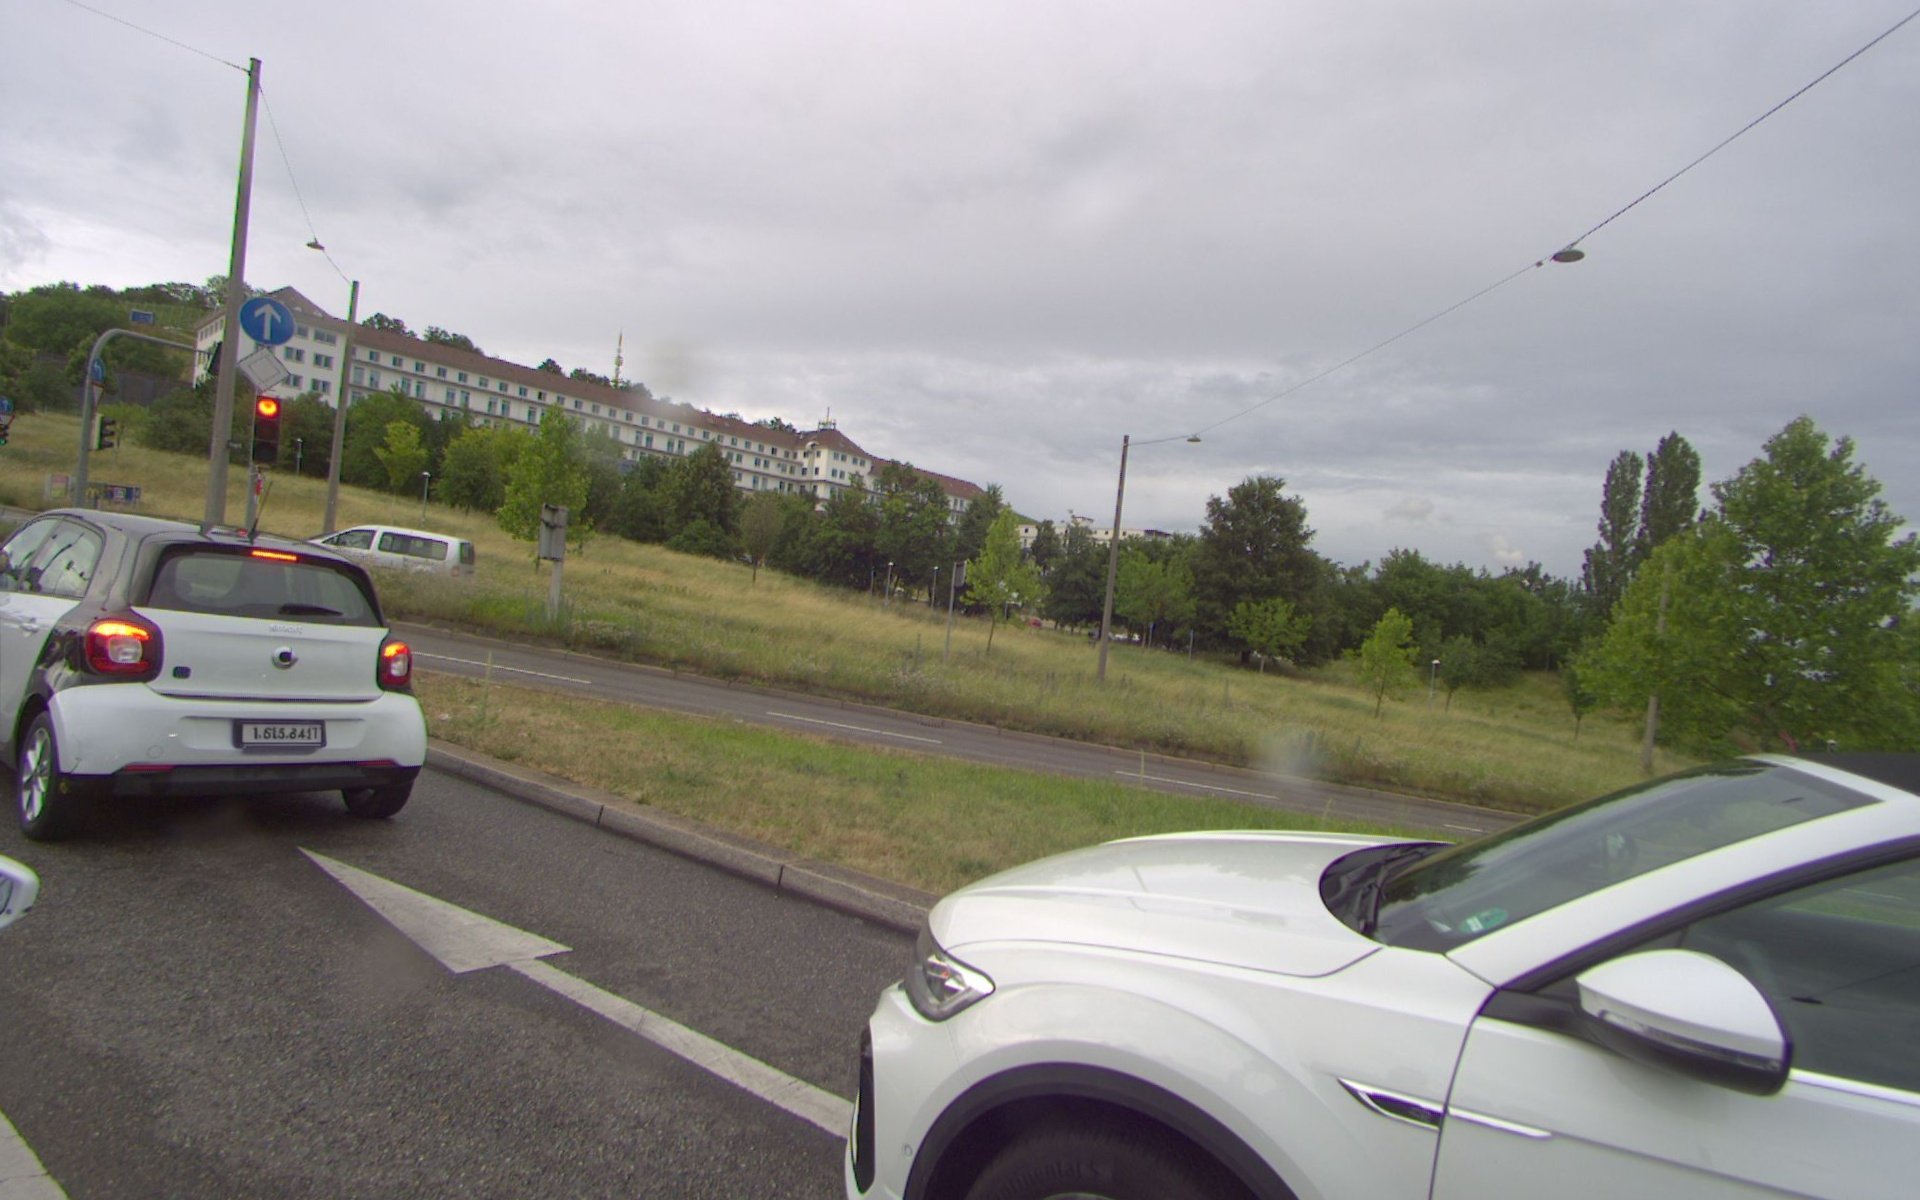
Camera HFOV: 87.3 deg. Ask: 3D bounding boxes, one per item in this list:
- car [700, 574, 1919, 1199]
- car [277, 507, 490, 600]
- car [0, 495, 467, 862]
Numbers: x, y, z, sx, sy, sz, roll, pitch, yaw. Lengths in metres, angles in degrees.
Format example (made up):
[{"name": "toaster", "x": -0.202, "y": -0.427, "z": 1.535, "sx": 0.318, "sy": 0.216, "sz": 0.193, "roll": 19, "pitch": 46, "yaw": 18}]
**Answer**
[{"name": "car", "x": 1.751, "y": 0.997, "z": 1.769, "sx": 4.156, "sy": 1.571, "sz": 1.718, "roll": 6, "pitch": -2, "yaw": 28}, {"name": "car", "x": -15.976, "y": -1.237, "z": 28.118, "sx": 4.619, "sy": 1.871, "sz": 1.820, "roll": 7, "pitch": -2, "yaw": -10}, {"name": "car", "x": -4.664, "y": 0.296, "z": 5.893, "sx": 3.397, "sy": 1.520, "sz": 1.659, "roll": 6, "pitch": -2, "yaw": 36}]
